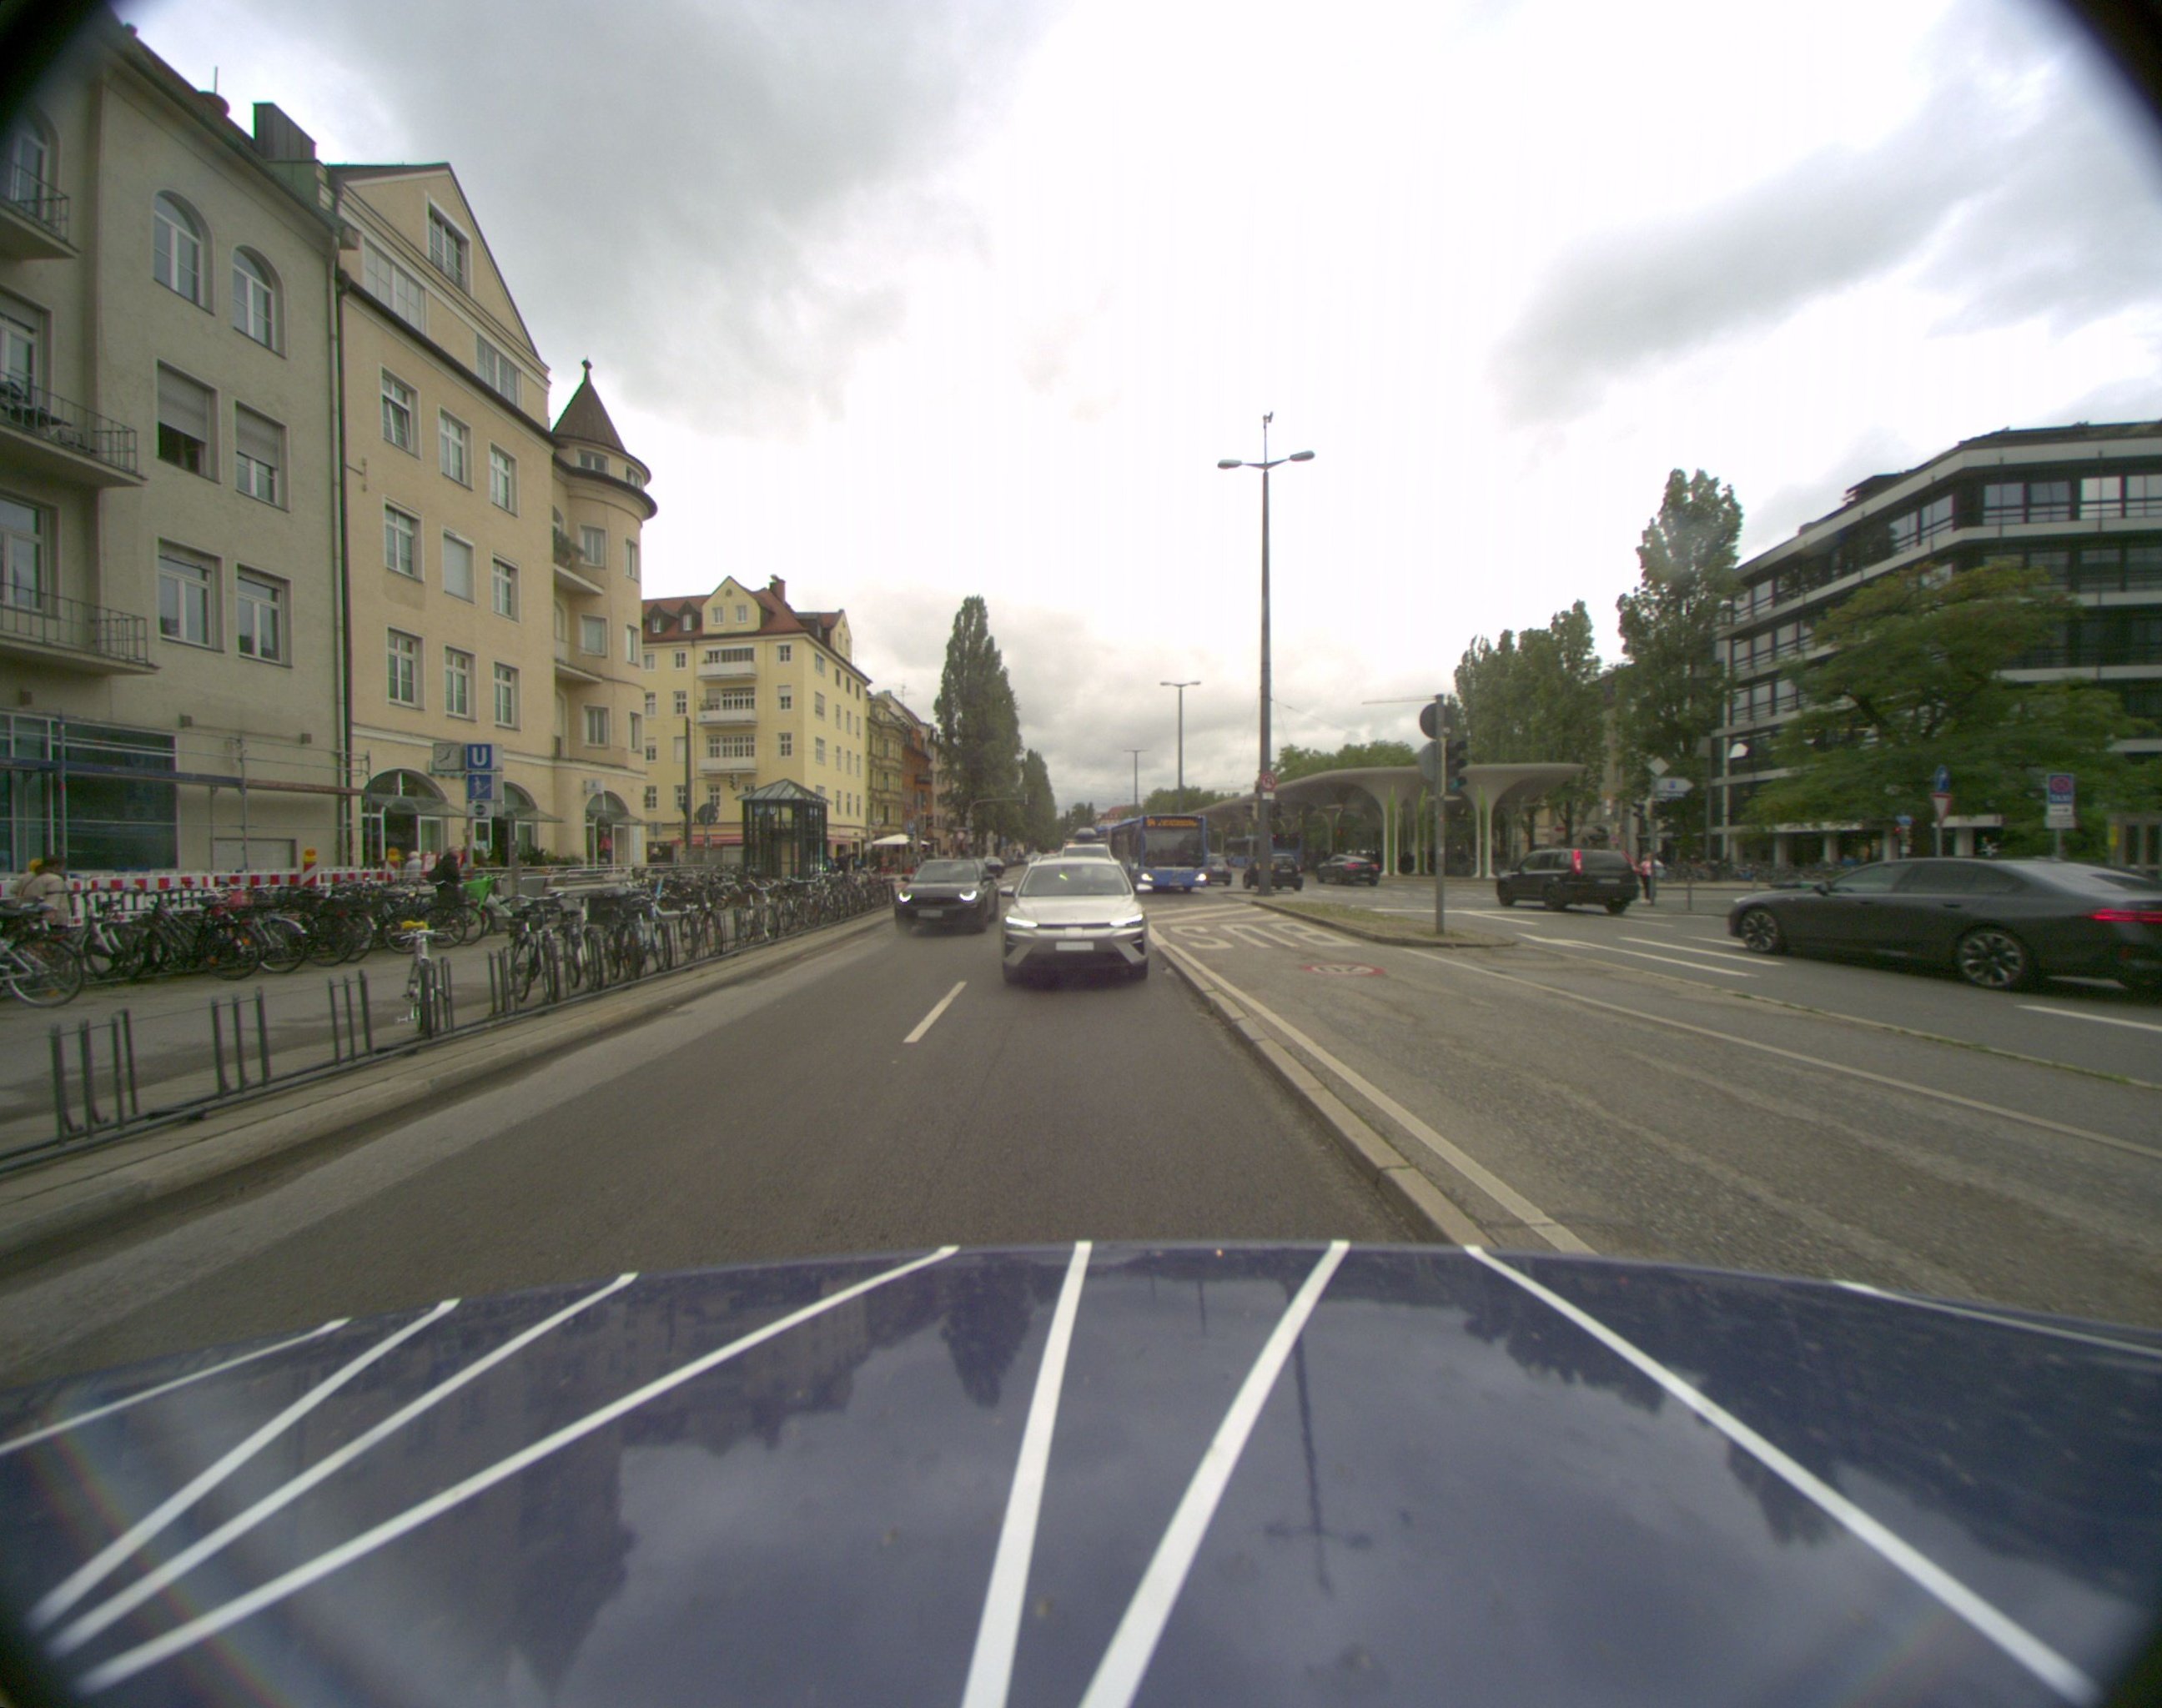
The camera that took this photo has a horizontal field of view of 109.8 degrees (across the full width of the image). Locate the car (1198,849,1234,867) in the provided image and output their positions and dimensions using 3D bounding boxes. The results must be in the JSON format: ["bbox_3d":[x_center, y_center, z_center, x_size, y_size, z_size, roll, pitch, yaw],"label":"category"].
[{"bbox_3d":[10.926,0.281,61.841,1.999,1.408,4.614,0,1,-1],"label":"car"}]

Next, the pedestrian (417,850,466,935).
[{"bbox_3d":[-13.212,0.772,15.701,0.741,1.698,0.703,-1,1,-40],"label":"pedestrian"}]

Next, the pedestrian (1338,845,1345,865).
[{"bbox_3d":[19.310,0.088,56.338,0.335,1.494,0.317,0,1,-9],"label":"pedestrian"}]

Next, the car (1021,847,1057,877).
[{"bbox_3d":[-2.662,0.500,48.858,1.998,1.740,3.999,-2,1,1],"label":"car"}]

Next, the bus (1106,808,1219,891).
[{"bbox_3d":[3.138,-0.271,32.997,2.942,2.927,11.207,-1,1,-4],"label":"bus"}]

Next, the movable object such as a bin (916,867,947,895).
[{"bbox_3d":[-5.878,1.056,29.884,1.089,1.056,0.747,1,2,-2],"label":"movable object such as a bin"}]

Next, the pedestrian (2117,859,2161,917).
[{"bbox_3d":[24.657,0.775,17.486,0.544,1.301,0.774,0,1,1],"label":"pedestrian"}]

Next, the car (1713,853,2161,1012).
[{"bbox_3d":[11.174,0.758,9.799,1.998,1.499,5.022,0,1,2],"label":"car"}]

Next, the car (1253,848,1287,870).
[{"bbox_3d":[13.490,0.348,54.425,1.674,1.506,2.746,0,1,-1],"label":"car"}]

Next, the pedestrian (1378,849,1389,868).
[{"bbox_3d":[21.924,0.327,55.059,0.549,1.330,0.592,0,1,0],"label":"pedestrian"}]

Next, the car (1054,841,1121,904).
[{"bbox_3d":[0.237,0.535,25.685,1.998,1.889,4.235,-2,1,1],"label":"car"}]

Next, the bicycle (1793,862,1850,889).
[{"bbox_3d":[28.760,0.821,29.547,0.510,0.992,1.751,0,1,1],"label":"bicycle"}]

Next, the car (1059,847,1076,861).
[{"bbox_3d":[-1.689,-0.015,94.357,1.999,1.630,3.999,0,1,-2],"label":"car"}]

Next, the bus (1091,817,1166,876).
[{"bbox_3d":[2.491,-0.479,44.187,2.942,2.927,11.207,-1,1,-4],"label":"bus"}]

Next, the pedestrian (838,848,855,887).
[{"bbox_3d":[-10.714,0.597,34.694,0.641,1.767,0.609,-1,1,-23],"label":"pedestrian"}]

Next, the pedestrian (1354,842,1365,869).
[{"bbox_3d":[19.258,0.126,52.568,0.666,1.840,0.789,0,1,20],"label":"pedestrian"}]

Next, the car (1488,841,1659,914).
[{"bbox_3d":[13.241,0.561,20.834,1.998,1.767,4.600,0,1,5],"label":"car"}]

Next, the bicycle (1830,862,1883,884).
[{"bbox_3d":[40.616,1.014,39.804,2.073,1.127,0.561,0,1,6],"label":"bicycle"}]

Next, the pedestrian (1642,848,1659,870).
[{"bbox_3d":[44.725,0.401,59.644,0.834,1.689,0.906,0,1,23],"label":"pedestrian"}]

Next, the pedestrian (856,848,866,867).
[{"bbox_3d":[-17.037,0.271,58.844,0.528,1.517,0.585,0,1,1],"label":"pedestrian"}]

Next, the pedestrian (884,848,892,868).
[{"bbox_3d":[-15.760,0.314,62.059,0.552,1.675,0.585,0,1,1],"label":"pedestrian"}]

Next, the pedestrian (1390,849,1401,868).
[{"bbox_3d":[22.722,0.311,54.863,0.549,1.330,0.592,0,1,0],"label":"pedestrian"}]

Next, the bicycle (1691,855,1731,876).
[{"bbox_3d":[35.423,0.634,42.753,0.474,1.091,1.671,-1,1,-33],"label":"bicycle"}]

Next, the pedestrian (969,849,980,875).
[{"bbox_3d":[-7.579,0.575,53.922,0.732,1.792,0.710,0,3,-9],"label":"pedestrian"}]

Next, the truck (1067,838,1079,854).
[{"bbox_3d":[-1.818,-1.835,170.058,2.540,3.468,7.751,0,1,1],"label":"truck"}]

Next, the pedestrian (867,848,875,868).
[{"bbox_3d":[-18.223,0.334,65.936,0.552,1.675,0.585,0,1,1],"label":"pedestrian"}]

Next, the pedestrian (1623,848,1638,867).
[{"bbox_3d":[49.226,0.338,68.124,0.800,1.714,0.827,0,1,12],"label":"pedestrian"}]

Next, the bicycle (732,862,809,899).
[{"bbox_3d":[-10.385,0.870,25.434,2.317,1.220,0.628,0,1,3],"label":"bicycle"}]

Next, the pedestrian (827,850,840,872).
[{"bbox_3d":[-18.430,0.501,56.487,0.682,1.657,0.624,1,1,36],"label":"pedestrian"}]

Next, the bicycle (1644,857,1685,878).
[{"bbox_3d":[30.711,0.688,40.036,0.473,1.091,1.671,-1,1,-24],"label":"bicycle"}]

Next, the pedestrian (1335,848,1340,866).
[{"bbox_3d":[18.938,0.195,56.081,0.316,1.335,0.339,0,1,17],"label":"pedestrian"}]

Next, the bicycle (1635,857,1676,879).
[{"bbox_3d":[29.980,0.719,39.689,0.473,1.091,1.671,-1,1,-24],"label":"bicycle"}]

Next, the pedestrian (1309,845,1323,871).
[{"bbox_3d":[16.090,0.269,52.079,0.711,1.738,0.788,0,1,0],"label":"pedestrian"}]

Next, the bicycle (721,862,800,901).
[{"bbox_3d":[-10.412,0.886,24.716,2.317,1.220,0.628,0,1,3],"label":"bicycle"}]

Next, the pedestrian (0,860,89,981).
[{"bbox_3d":[-14.046,0.871,10.213,0.662,1.573,0.536,-1,1,-24],"label":"pedestrian"}]

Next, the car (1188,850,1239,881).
[{"bbox_3d":[6.499,0.545,37.572,1.628,1.471,3.386,1,0,-6],"label":"car"}]

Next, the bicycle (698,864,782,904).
[{"bbox_3d":[-10.484,0.914,23.420,2.317,1.220,0.628,0,1,3],"label":"bicycle"}]

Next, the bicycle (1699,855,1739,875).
[{"bbox_3d":[36.478,0.605,43.473,0.474,1.091,1.671,-1,1,-33],"label":"bicycle"}]

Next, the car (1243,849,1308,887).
[{"bbox_3d":[8.168,0.569,32.071,1.562,1.498,2.785,-1,1,-13],"label":"car"}]

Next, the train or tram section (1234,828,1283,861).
[{"bbox_3d":[16.523,-0.881,71.208,2.840,2.983,7.406,0,1,0],"label":"train or tram section"}]

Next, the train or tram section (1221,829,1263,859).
[{"bbox_3d":[16.574,-1.033,78.617,2.840,2.983,7.406,0,1,0],"label":"train or tram section"}]

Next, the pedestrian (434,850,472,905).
[{"bbox_3d":[-18.127,0.666,21.946,0.566,1.533,0.590,0,2,-1],"label":"pedestrian"}]

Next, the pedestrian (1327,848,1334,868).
[{"bbox_3d":[18.614,0.269,56.691,0.426,1.494,0.490,0,1,26],"label":"pedestrian"}]

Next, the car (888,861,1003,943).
[{"bbox_3d":[-2.790,0.932,16.505,1.740,1.462,4.050,-1,1,0],"label":"car"}]

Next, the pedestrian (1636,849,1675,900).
[{"bbox_3d":[17.909,0.627,23.691,0.640,1.543,0.759,-3,2,-25],"label":"pedestrian"}]

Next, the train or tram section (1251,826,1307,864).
[{"bbox_3d":[16.495,-0.732,63.794,2.840,2.983,7.406,0,1,0],"label":"train or tram section"}]

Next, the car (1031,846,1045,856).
[{"bbox_3d":[-7.242,-0.548,128.265,1.998,1.630,4.000,0,1,1],"label":"car"}]

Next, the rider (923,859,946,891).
[{"bbox_3d":[-5.757,0.821,29.876,0.732,1.234,0.732,1,2,-2],"label":"rider"}]

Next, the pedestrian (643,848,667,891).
[{"bbox_3d":[-17.061,0.619,30.429,0.566,1.691,0.590,0,2,-1],"label":"pedestrian"}]

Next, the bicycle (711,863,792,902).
[{"bbox_3d":[-10.421,0.899,24.053,2.317,1.220,0.628,0,1,3],"label":"bicycle"}]

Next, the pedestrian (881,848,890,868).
[{"bbox_3d":[-16.172,0.310,62.846,0.552,1.675,0.585,0,1,1],"label":"pedestrian"}]

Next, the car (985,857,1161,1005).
[{"bbox_3d":[-0.038,0.858,10.367,1.896,1.483,3.999,-2,1,1],"label":"car"}]

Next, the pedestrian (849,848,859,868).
[{"bbox_3d":[-17.554,0.289,58.765,0.528,1.517,0.585,0,1,1],"label":"pedestrian"}]

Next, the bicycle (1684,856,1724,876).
[{"bbox_3d":[34.625,0.652,42.233,0.473,1.091,1.671,-1,1,-24],"label":"bicycle"}]

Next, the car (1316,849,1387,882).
[{"bbox_3d":[13.820,0.534,39.169,1.999,1.567,4.616,0,1,-1],"label":"car"}]

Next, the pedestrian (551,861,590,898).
[{"bbox_3d":[-17.958,0.885,26.757,0.701,1.238,0.919,0,2,-1],"label":"pedestrian"}]

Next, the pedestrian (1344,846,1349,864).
[{"bbox_3d":[19.556,0.077,56.001,0.303,1.369,0.270,0,1,-2],"label":"pedestrian"}]
